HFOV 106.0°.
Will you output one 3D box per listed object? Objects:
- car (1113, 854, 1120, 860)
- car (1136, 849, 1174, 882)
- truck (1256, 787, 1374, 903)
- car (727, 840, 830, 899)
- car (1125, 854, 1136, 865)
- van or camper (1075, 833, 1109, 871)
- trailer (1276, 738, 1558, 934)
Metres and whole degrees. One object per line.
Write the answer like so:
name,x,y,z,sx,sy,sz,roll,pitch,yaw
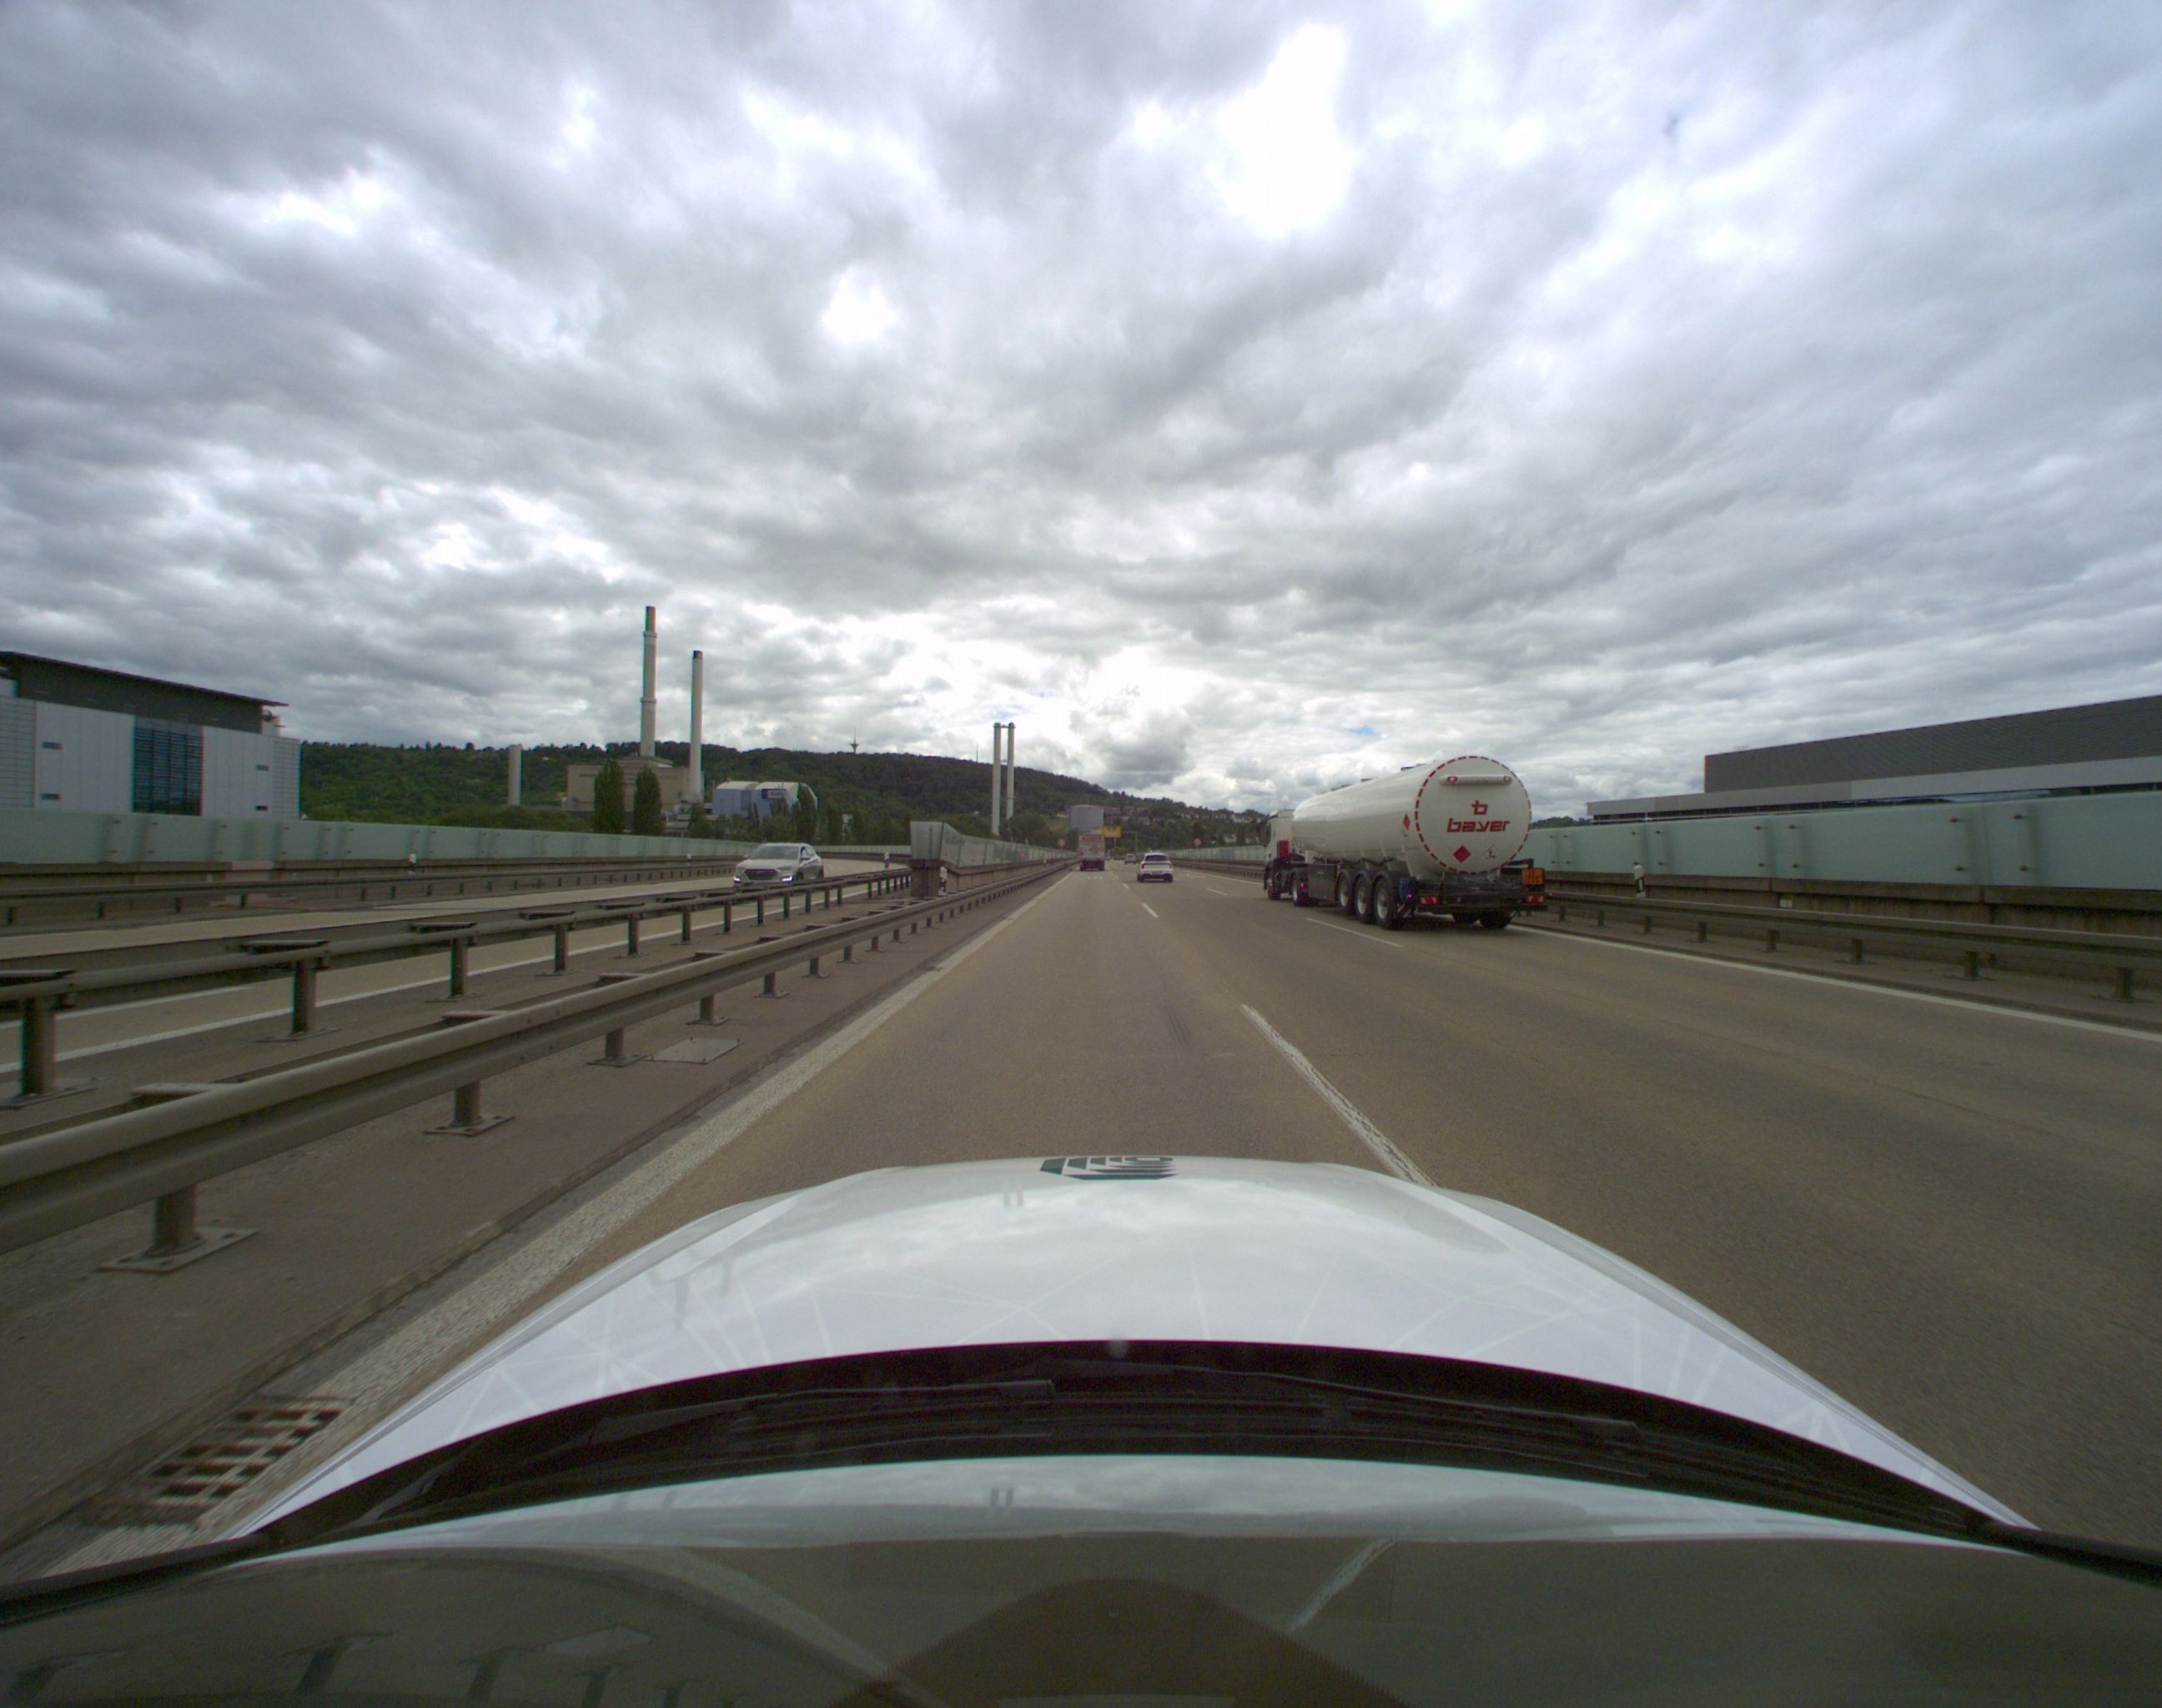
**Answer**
car,10.395,0.901,240.126,1.917,1.785,4.115,0,0,2
car,4.216,0.618,46.899,1.917,1.785,4.115,0,0,2
truck,7.594,-0.260,27.091,2.621,3.514,4.905,0,0,1
car,-9.408,0.444,25.740,1.841,1.673,4.402,0,0,-4
car,8.296,0.899,136.686,1.915,1.785,4.117,0,0,4
van or camper,1.172,-0.159,81.016,3.110,3.579,8.554,0,0,2
trailer,7.415,-0.291,20.322,2.640,3.543,11.223,0,0,1
